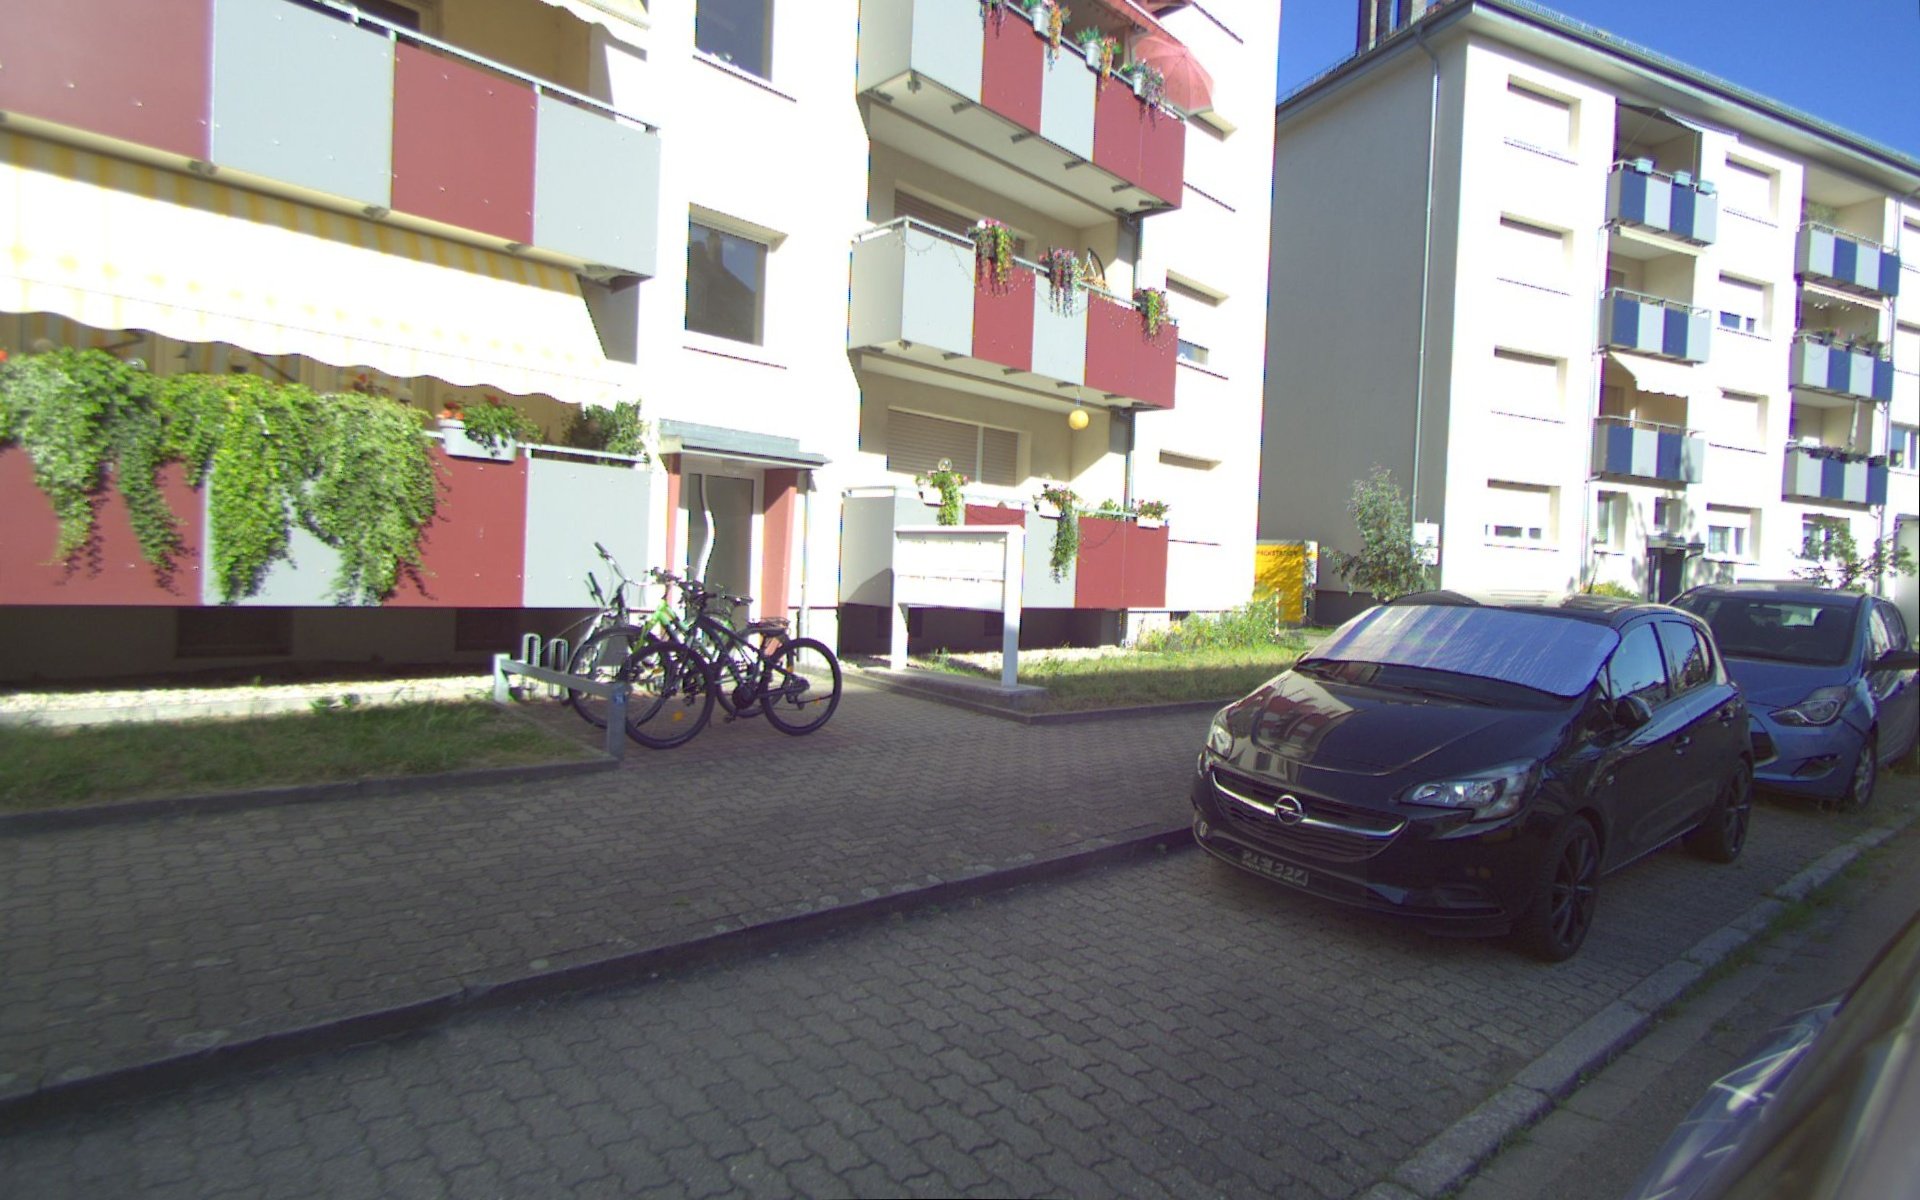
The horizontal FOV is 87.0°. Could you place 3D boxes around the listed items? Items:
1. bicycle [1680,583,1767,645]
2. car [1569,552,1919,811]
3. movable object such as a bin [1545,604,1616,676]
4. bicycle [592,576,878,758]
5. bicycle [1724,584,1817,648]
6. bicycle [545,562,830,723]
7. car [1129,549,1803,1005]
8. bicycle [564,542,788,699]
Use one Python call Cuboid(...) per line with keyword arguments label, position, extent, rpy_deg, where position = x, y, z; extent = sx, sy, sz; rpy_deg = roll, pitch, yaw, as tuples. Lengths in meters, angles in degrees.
Cuboid(label="bicycle", position=(16.075, 0.298, 21.306), extent=(1.795, 1.217, 0.518), rpy_deg=(2, 3, -22))
Cuboid(label="car", position=(7.010, 0.534, 8.637), extent=(3.968, 1.655, 1.771), rpy_deg=(1, 3, -39))
Cuboid(label="movable object such as a bin", position=(8.454, 0.536, 13.786), extent=(0.629, 0.899, 0.585), rpy_deg=(1, 4, -39))
Cuboid(label="bicycle", position=(-1.436, 0.388, 6.712), extent=(1.810, 1.032, 0.498), rpy_deg=(0, 4, -42))
Cuboid(label="bicycle", position=(16.414, 0.325, 20.503), extent=(1.724, 1.217, 0.518), rpy_deg=(2, 3, -18))
Cuboid(label="bicycle", position=(-1.928, 0.296, 7.350), extent=(1.863, 0.989, 0.619), rpy_deg=(2, 4, -42))
Cuboid(label="car", position=(2.897, 0.620, 5.475), extent=(3.815, 1.526, 1.741), rpy_deg=(1, 5, -39))
Cuboid(label="bicycle", position=(-2.280, 0.144, 8.291), extent=(1.732, 1.164, 0.408), rpy_deg=(0, 4, -43))
